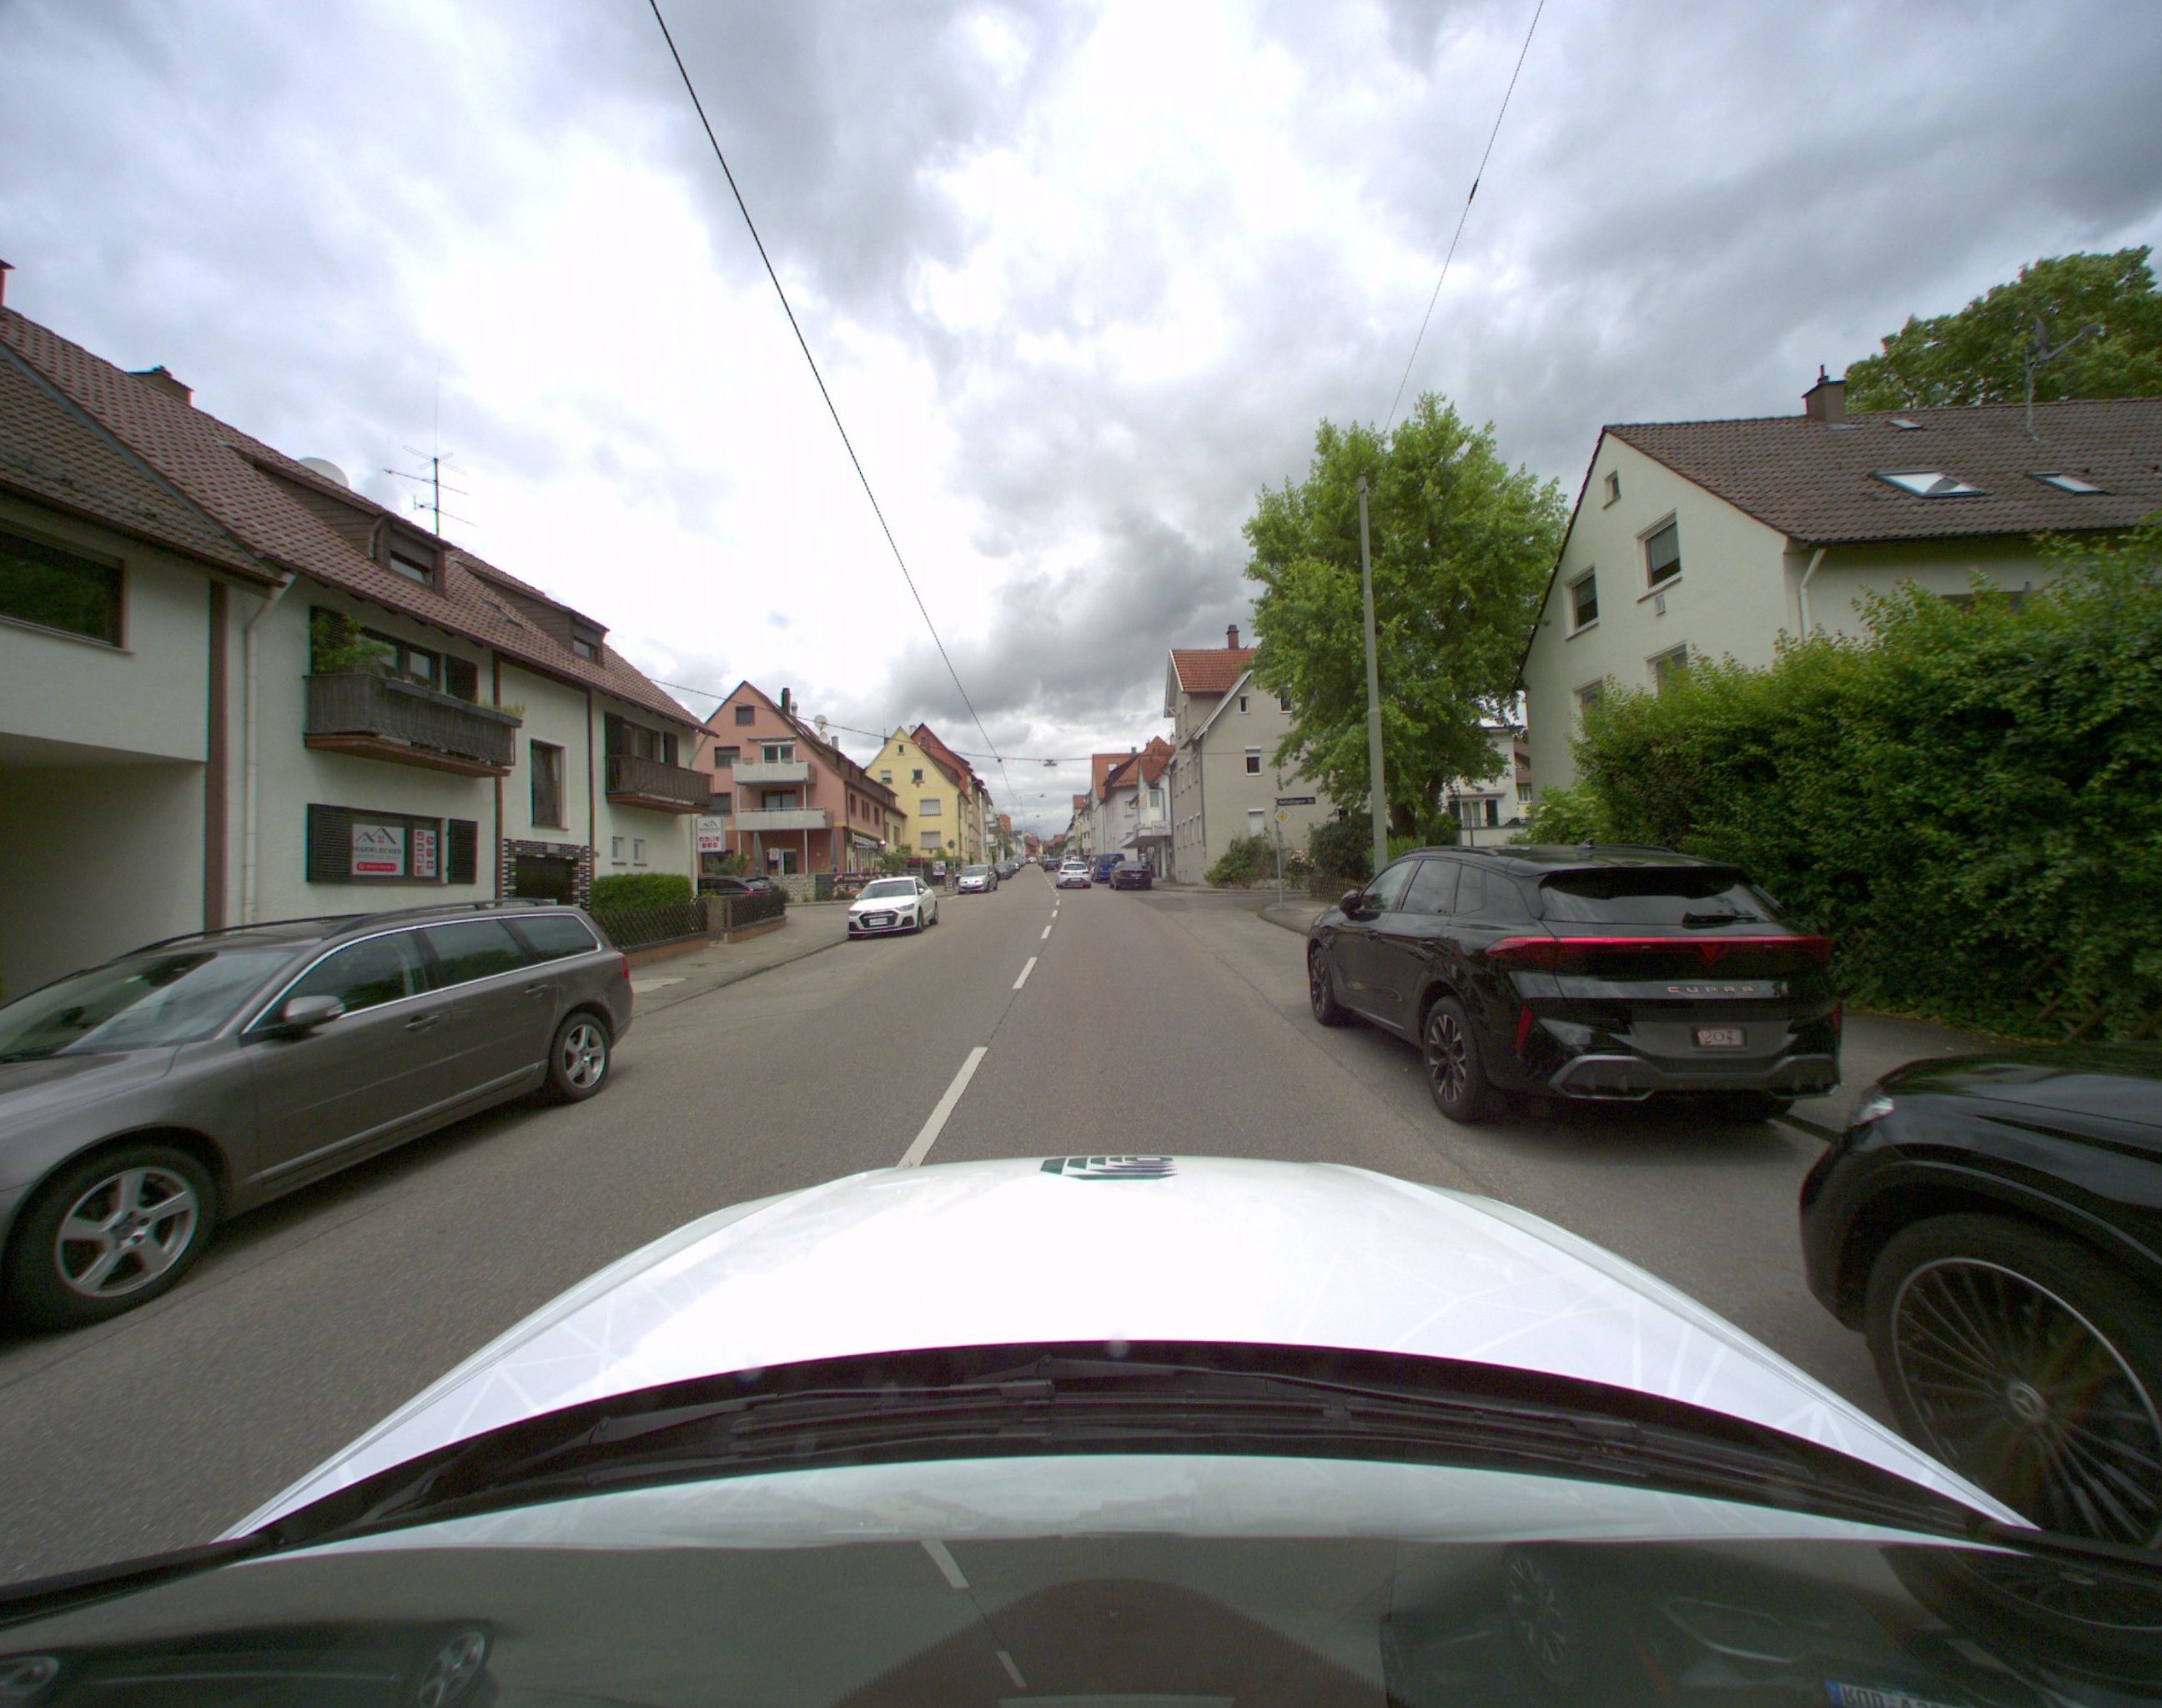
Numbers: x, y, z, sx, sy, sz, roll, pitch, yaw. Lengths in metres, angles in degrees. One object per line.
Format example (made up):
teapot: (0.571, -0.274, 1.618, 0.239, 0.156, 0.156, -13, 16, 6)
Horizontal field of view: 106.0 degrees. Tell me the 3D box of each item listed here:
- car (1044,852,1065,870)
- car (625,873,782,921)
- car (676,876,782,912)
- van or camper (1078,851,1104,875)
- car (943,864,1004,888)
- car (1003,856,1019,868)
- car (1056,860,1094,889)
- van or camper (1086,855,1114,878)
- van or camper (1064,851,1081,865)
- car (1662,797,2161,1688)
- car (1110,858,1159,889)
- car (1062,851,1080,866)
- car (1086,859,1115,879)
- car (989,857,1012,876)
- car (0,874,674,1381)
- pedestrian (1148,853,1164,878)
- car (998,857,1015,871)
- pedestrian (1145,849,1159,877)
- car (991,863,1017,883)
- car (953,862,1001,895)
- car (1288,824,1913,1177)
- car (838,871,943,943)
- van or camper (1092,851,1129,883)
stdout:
car: (-3.017, 0.771, 91.411, 2.148, 2.014, 3.994, -1, 0, -4)
car: (-13.113, 1.469, 28.453, 4.501, 1.472, 2.001, -1, 0, 1)
car: (-16.796, 1.916, 38.901, 4.369, 1.472, 2.009, -3, -3, 17)
van or camper: (0.863, 0.819, 73.872, 1.989, 2.066, 5.937, 0, 0, -3)
car: (-7.829, 1.608, 59.276, 4.228, 1.473, 1.994, -3, -4, -9)
car: (-9.850, 1.079, 115.017, 1.989, 1.651, 3.995, -2, 0, -3)
car: (-0.366, 1.067, 44.577, 1.936, 1.439, 3.996, -2, 0, -3)
van or camper: (1.470, 0.979, 66.129, 1.867, 1.829, 4.673, 0, 0, -4)
van or camper: (-1.255, 0.565, 118.159, 1.938, 2.055, 4.554, -1, 0, -5)
car: (2.924, 0.681, 0.472, 1.986, 1.615, 4.540, -1, -1, 1)
car: (2.731, 1.000, 42.942, 1.989, 1.518, 4.885, -1, -1, -3)
car: (-1.182, 0.539, 95.862, 1.937, 1.693, 3.994, 0, 0, -5)
car: (1.435, 1.109, 60.853, 1.711, 1.436, 4.632, -1, 0, -4)
car: (-7.805, 1.182, 79.073, 1.990, 1.650, 4.547, -5, 0, -4)
car: (-4.627, 1.078, 4.748, 1.840, 1.680, 4.788, -6, -1, 1)
pedestrian: (5.239, 0.790, 57.121, 0.862, 1.725, 0.623, -2, -1, 31)
car: (-8.676, 1.158, 94.743, 1.638, 1.473, 4.174, -5, 0, -3)
pedestrian: (5.110, 0.671, 58.736, 0.752, 2.014, 0.623, -2, -1, 31)
car: (-6.877, 1.654, 73.045, 1.989, 1.472, 4.240, -5, 0, -2)
car: (-5.868, 1.337, 46.219, 1.826, 1.578, 4.035, -5, 0, 4)
car: (2.984, 0.708, 6.053, 1.804, 1.615, 4.540, -1, -1, 1)
car: (-4.795, 1.284, 21.051, 1.721, 1.458, 3.897, -6, -1, -1)
van or camper: (1.905, 0.829, 54.134, 1.923, 1.925, 4.823, -1, 0, -4)
